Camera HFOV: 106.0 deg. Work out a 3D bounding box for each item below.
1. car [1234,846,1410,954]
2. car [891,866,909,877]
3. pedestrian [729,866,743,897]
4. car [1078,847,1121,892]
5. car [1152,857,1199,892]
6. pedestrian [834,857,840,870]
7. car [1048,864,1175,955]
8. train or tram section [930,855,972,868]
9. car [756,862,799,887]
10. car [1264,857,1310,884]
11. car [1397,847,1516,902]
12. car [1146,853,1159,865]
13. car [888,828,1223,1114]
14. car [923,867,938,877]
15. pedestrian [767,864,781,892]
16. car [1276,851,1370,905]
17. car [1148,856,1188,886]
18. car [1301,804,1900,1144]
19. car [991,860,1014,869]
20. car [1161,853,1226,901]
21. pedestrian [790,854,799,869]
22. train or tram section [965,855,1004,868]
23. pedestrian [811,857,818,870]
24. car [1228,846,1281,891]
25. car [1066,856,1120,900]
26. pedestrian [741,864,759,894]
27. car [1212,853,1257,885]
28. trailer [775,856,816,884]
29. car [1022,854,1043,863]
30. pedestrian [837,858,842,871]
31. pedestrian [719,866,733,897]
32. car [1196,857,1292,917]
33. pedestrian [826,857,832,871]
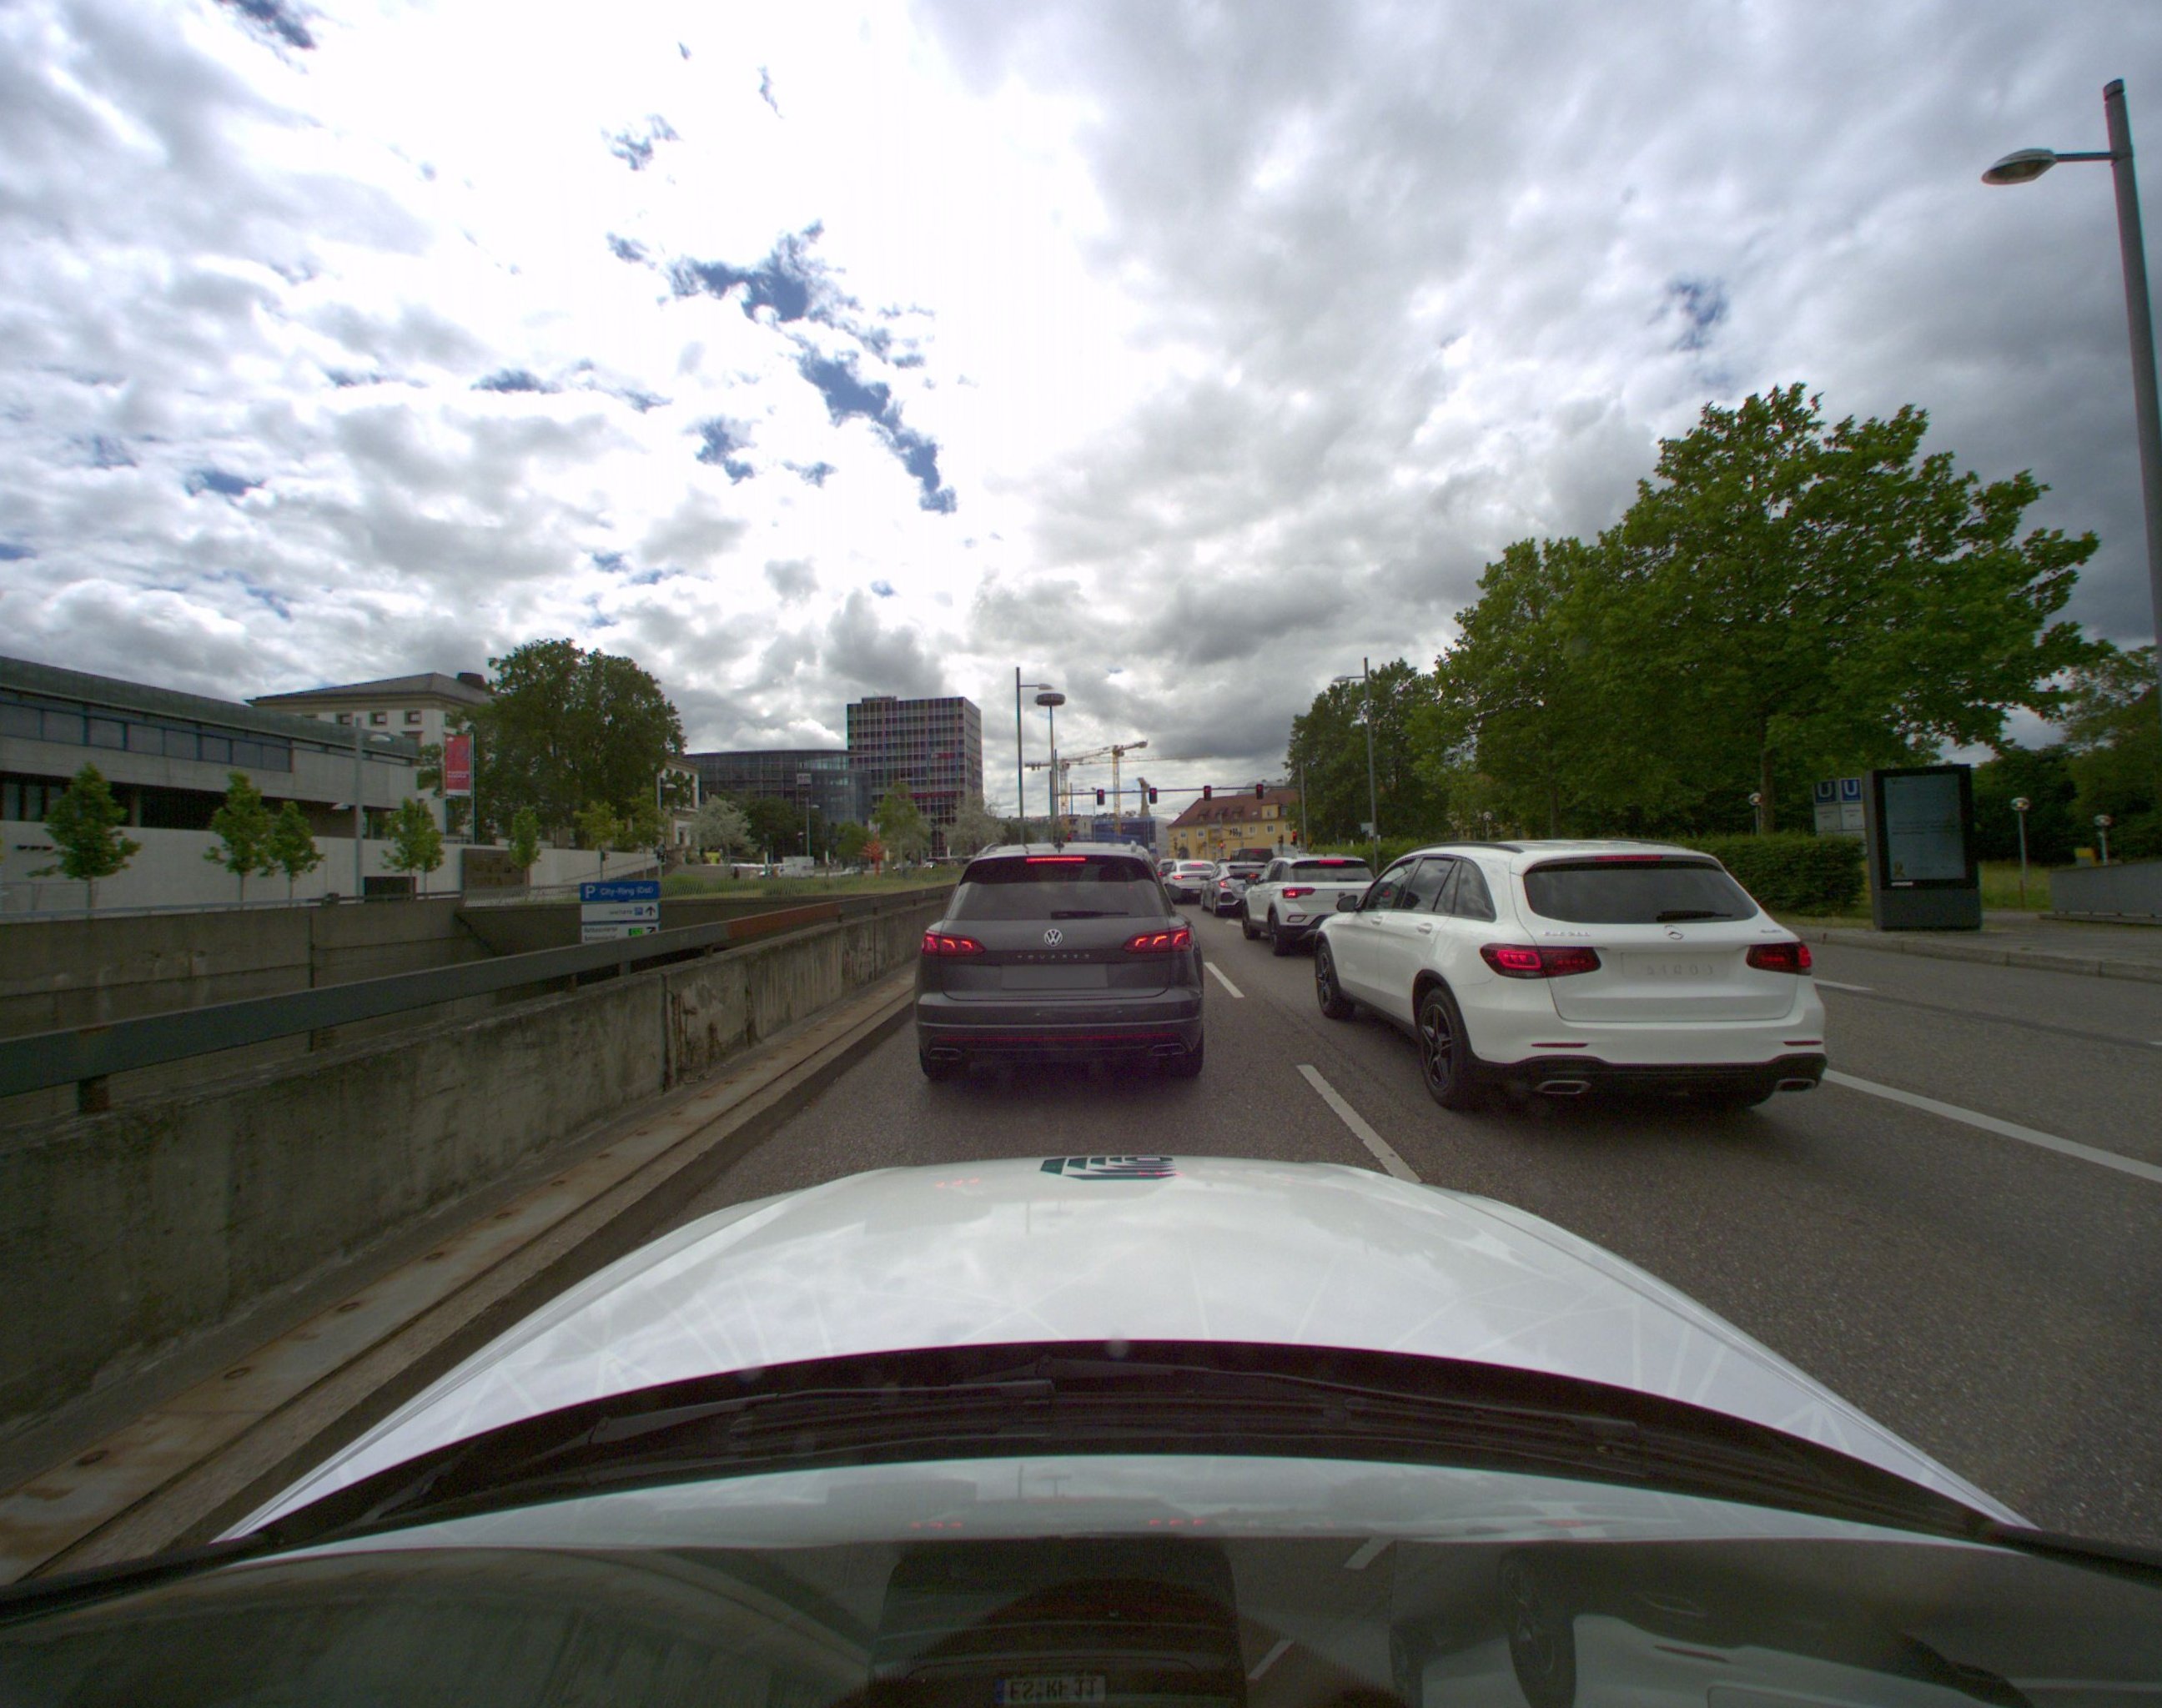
[{"bbox_3d":[3.910,0.703,14.074,1.918,1.551,4.493,-1,-1,3],"label":"car"},{"bbox_3d":[-25.452,2.450,114.482,1.727,1.495,3.594,0,-2,0],"label":"car"},{"bbox_3d":[-23.328,1.858,55.038,0.794,2.013,0.830,-2,0,-26],"label":"pedestrian"},{"bbox_3d":[0.877,0.709,38.693,1.944,2.018,3.932,0,0,1],"label":"car"},{"bbox_3d":[4.342,0.935,37.788,1.918,1.529,4.050,-1,-1,3],"label":"car"},{"bbox_3d":[-38.894,1.534,129.702,0.739,2.013,0.789,-2,1,-14],"label":"pedestrian"},{"bbox_3d":[0.528,0.878,14.518,1.944,1.384,3.932,0,0,1],"label":"car"},{"bbox_3d":[-30.158,1.808,189.234,10.296,3.010,2.612,-1,-2,30],"label":"train or tram section"},{"bbox_3d":[-28.484,1.899,76.565,1.985,2.013,4.695,-2,1,3],"label":"car"},{"bbox_3d":[11.498,0.926,45.658,1.751,1.447,3.633,0,-1,1],"label":"car"},{"bbox_3d":[10.892,0.592,23.974,1.921,1.460,4.536,0,-1,8],"label":"car"},{"bbox_3d":[9.712,0.683,111.420,1.612,1.627,4.002,0,-2,3],"label":"car"},{"bbox_3d":[-0.096,0.701,6.793,1.944,1.651,4.001,-1,0,1],"label":"car"},{"bbox_3d":[-24.525,2.973,133.041,1.727,1.495,3.594,0,-2,0],"label":"car"},{"bbox_3d":[-22.611,1.756,59.960,0.729,2.012,0.628,-2,4,-6],"label":"pedestrian"},{"bbox_3d":[8.060,0.741,27.571,1.986,1.640,4.306,-1,0,1],"label":"car"},{"bbox_3d":[4.661,0.925,44.073,1.918,1.529,4.050,-1,-1,3],"label":"car"},{"bbox_3d":[3.167,0.605,6.283,1.918,1.653,4.493,-1,0,3],"label":"car"},{"bbox_3d":[-14.736,2.054,153.394,4.173,1.603,1.764,-1,-2,38],"label":"car"},{"bbox_3d":[3.907,0.792,28.974,1.918,1.529,4.493,-1,-1,3],"label":"car"},{"bbox_3d":[-39.921,1.081,113.486,0.737,2.013,1.113,-2,1,-3],"label":"pedestrian"},{"bbox_3d":[-21.872,1.709,184.461,8.836,3.010,2.612,-1,-2,30],"label":"train or tram section"},{"bbox_3d":[-41.706,1.491,127.431,0.735,2.013,0.793,-2,1,2],"label":"pedestrian"},{"bbox_3d":[8.263,0.682,39.066,1.902,2.014,4.014,0,-1,3],"label":"car"},{"bbox_3d":[0.480,0.872,31.161,1.944,1.600,3.932,0,0,1],"label":"car"},{"bbox_3d":[-22.873,1.727,56.255,0.853,2.013,0.632,-2,1,17],"label":"pedestrian"},{"bbox_3d":[8.346,0.818,44.646,1.902,1.697,4.014,0,-1,3],"label":"car"},{"bbox_3d":[-28.563,1.559,81.684,2.030,2.604,5.511,0,0,2],"label":"trailer"},{"bbox_3d":[-10.518,1.015,176.448,4.402,2.014,2.012,-1,-2,36],"label":"car"},{"bbox_3d":[-38.023,1.614,128.373,0.740,2.013,0.915,-2,1,-17],"label":"pedestrian"},{"bbox_3d":[-23.754,1.841,54.487,0.794,2.013,0.830,-2,0,-24],"label":"pedestrian"},{"bbox_3d":[4.319,0.849,22.232,1.918,1.432,4.493,-1,-1,3],"label":"car"},{"bbox_3d":[-39.043,1.546,126.064,0.740,2.013,0.915,-2,1,-17],"label":"pedestrian"}]
